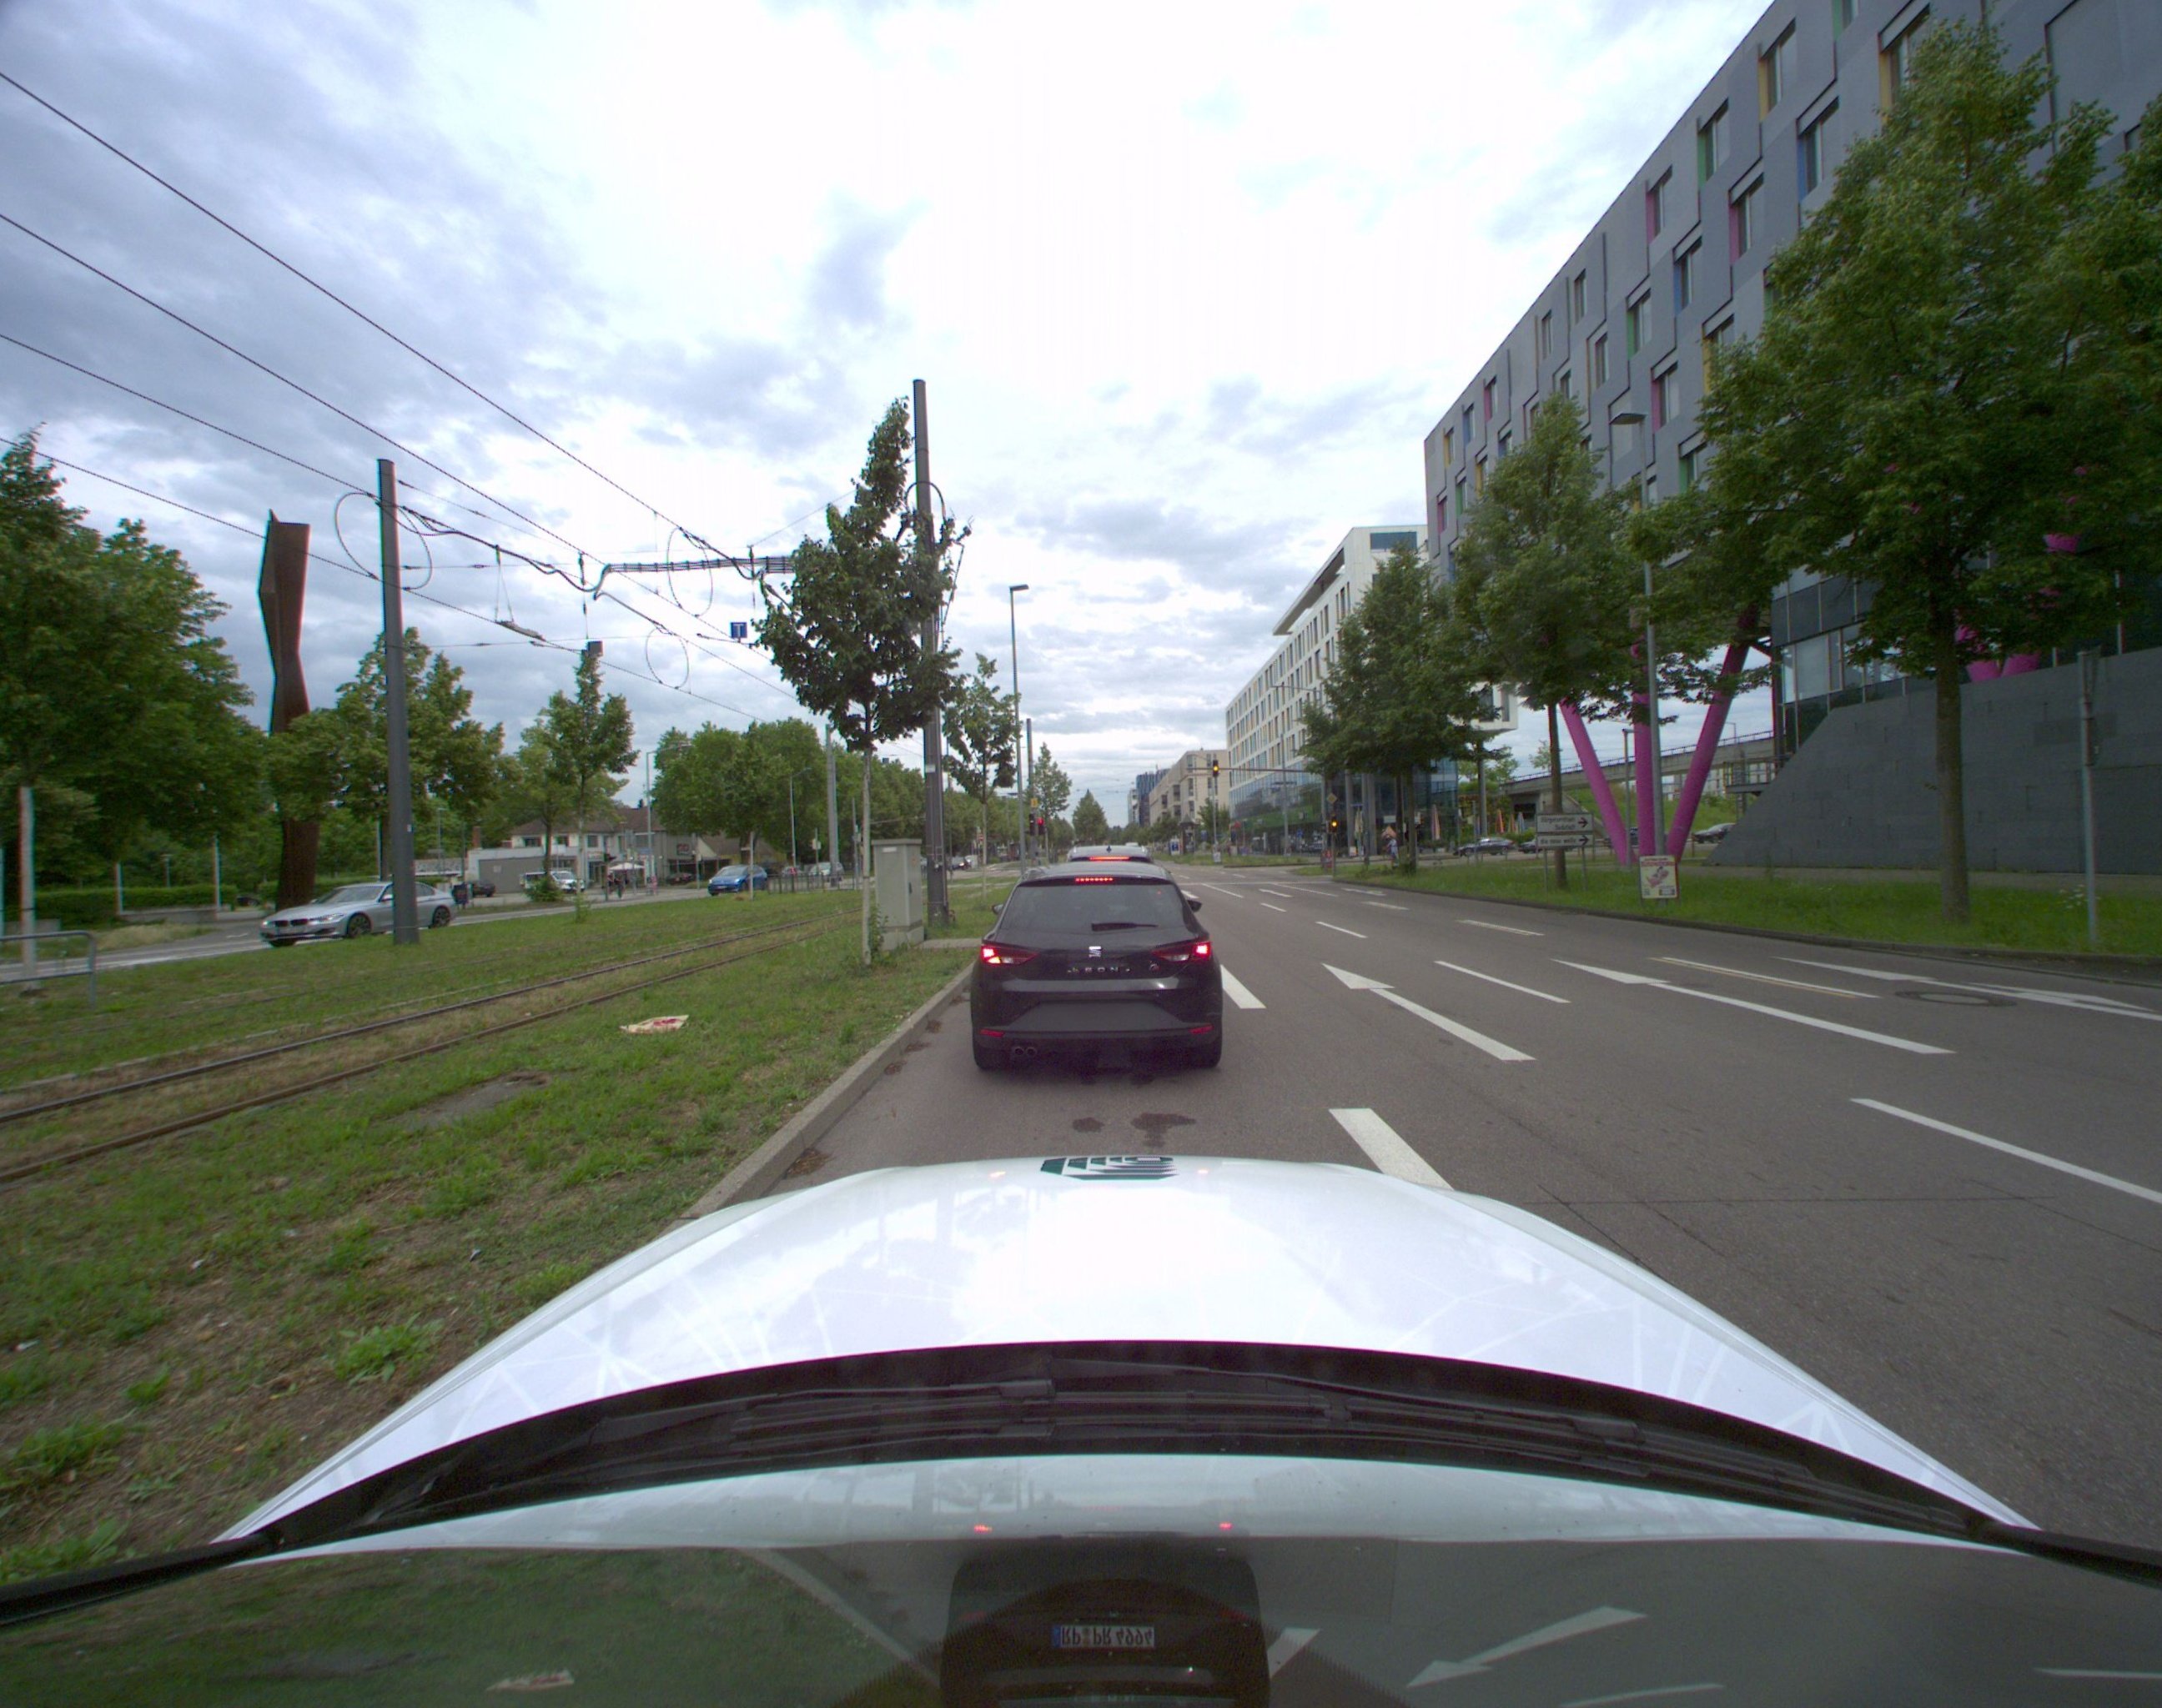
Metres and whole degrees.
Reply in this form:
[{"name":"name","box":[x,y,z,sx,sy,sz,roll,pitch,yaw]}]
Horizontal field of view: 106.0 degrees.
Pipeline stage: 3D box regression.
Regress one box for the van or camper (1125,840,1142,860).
[{"name":"van or camper","box":[6.879,-0.584,107.229,2.101,2.355,4.927,-2,2,2]}]

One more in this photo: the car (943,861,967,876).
[{"name":"car","box":[-13.820,1.561,89.628,1.657,1.426,4.747,-4,0,1]}]

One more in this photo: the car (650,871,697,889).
[{"name":"car","box":[-47.079,3.030,94.068,4.258,1.815,2.111,-2,0,6]}]

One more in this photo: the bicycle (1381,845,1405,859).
[{"name":"bicycle","box":[25.731,-0.180,67.178,1.784,1.085,0.618,-2,0,3]}]

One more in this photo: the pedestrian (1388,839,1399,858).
[{"name":"pedestrian","box":[25.762,-0.447,67.176,0.612,1.604,0.619,-2,0,4]}]

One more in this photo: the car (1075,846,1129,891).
[{"name":"car","box":[0.905,0.544,32.881,1.985,1.681,4.005,-1,1,4]}]

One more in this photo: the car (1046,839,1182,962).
[{"name":"car","box":[0.514,0.620,13.151,1.796,1.624,4.002,-2,0,2]}]

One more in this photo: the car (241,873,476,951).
[{"name":"car","box":[-18.264,1.379,21.000,1.724,1.445,4.918,-4,1,-3]}]

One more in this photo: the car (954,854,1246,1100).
[{"name":"car","box":[0.152,0.737,6.892,1.737,1.417,4.001,-1,0,1]}]

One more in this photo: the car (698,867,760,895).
[{"name":"car","box":[-21.655,1.630,50.297,1.790,1.571,4.578,0,0,0]}]

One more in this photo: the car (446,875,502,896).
[{"name":"car","box":[-59.442,3.101,79.740,3.969,1.848,2.002,-2,0,4]}]

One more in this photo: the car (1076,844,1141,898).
[{"name":"car","box":[1.000,0.507,27.643,1.984,1.681,4.006,-1,1,5]}]

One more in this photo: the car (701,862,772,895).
[{"name":"car","box":[-18.913,1.281,44.926,1.959,1.588,4.686,-1,0,-2]}]

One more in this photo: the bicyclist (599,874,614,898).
[{"name":"bicyclist","box":[-35.286,2.350,60.563,0.854,1.721,0.715,-2,0,-25]}]

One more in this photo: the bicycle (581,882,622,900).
[{"name":"bicycle","box":[-35.551,2.738,60.429,2.520,1.202,0.734,-2,0,-25]}]

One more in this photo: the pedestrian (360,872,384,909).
[{"name":"pedestrian","box":[-39.610,2.027,45.504,0.910,2.013,0.942,-2,0,-40]}]

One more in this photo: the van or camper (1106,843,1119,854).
[{"name":"van or camper","box":[5.080,-0.869,130.131,1.986,1.615,4.792,-2,1,2]}]

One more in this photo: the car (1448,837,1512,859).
[{"name":"car","box":[31.891,-0.482,65.192,4.233,1.615,1.759,-2,0,3]}]

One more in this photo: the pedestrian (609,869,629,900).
[{"name":"pedestrian","box":[-27.663,1.821,48.762,0.779,1.832,0.771,-2,0,-16]}]

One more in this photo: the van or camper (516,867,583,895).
[{"name":"van or camper","box":[-41.568,2.117,63.681,5.212,2.013,2.481,-2,0,34]}]

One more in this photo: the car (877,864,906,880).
[{"name":"car","box":[-19.866,1.872,85.633,1.789,1.570,4.331,-2,0,3]}]

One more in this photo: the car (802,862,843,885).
[{"name":"car","box":[-20.902,1.575,66.038,1.715,1.643,4.674,-2,0,0]}]

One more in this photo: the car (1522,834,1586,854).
[{"name":"car","box":[37.906,-0.794,65.367,4.063,1.455,1.760,-2,0,3]}]
